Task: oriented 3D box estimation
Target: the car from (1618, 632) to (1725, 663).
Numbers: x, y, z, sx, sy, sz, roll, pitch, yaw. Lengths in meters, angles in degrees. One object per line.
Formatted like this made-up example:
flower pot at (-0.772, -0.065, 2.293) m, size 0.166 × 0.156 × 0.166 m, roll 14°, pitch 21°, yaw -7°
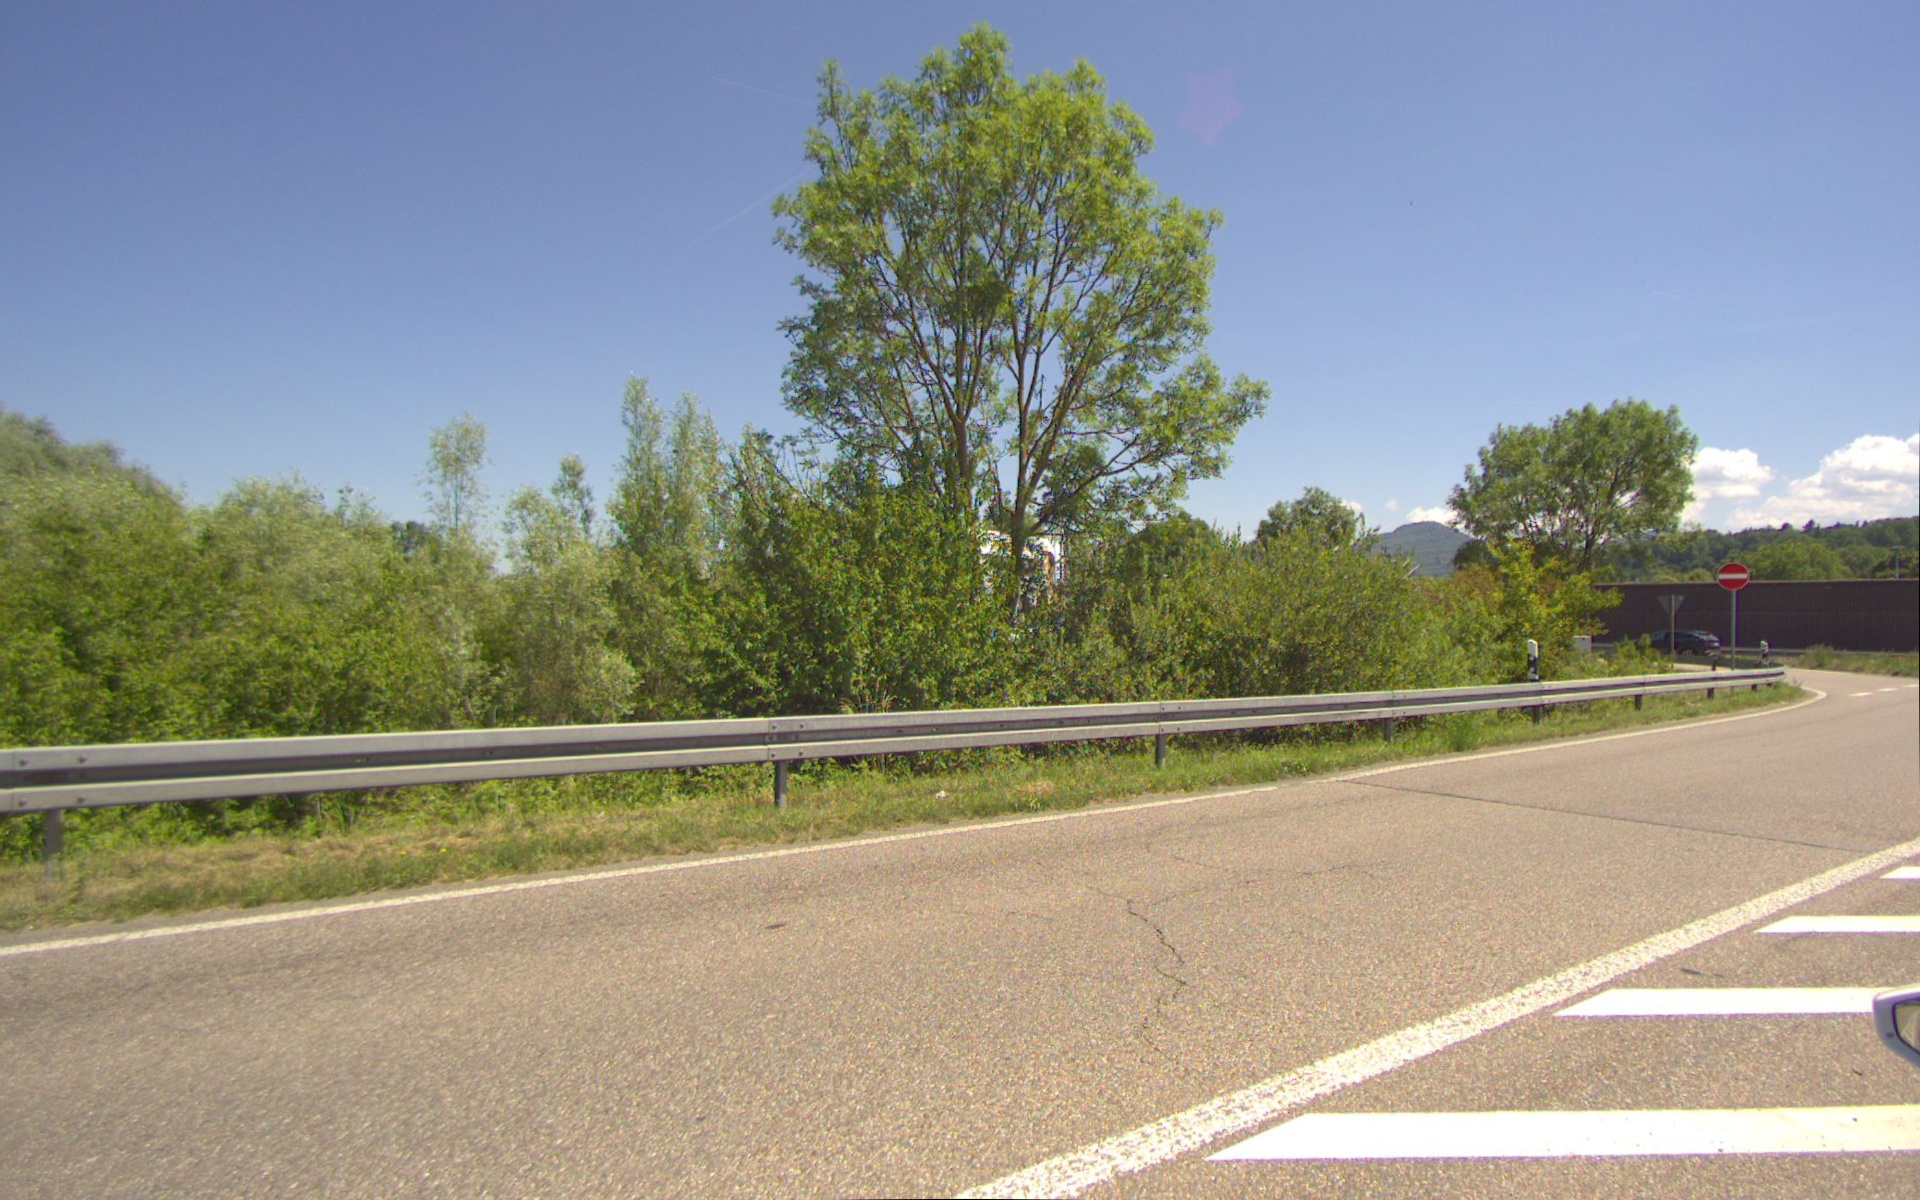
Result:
car at (36.886, 2.500, 52.157) m, size 1.927 × 1.493 × 4.077 m, roll 0°, pitch -3°, yaw -31°
